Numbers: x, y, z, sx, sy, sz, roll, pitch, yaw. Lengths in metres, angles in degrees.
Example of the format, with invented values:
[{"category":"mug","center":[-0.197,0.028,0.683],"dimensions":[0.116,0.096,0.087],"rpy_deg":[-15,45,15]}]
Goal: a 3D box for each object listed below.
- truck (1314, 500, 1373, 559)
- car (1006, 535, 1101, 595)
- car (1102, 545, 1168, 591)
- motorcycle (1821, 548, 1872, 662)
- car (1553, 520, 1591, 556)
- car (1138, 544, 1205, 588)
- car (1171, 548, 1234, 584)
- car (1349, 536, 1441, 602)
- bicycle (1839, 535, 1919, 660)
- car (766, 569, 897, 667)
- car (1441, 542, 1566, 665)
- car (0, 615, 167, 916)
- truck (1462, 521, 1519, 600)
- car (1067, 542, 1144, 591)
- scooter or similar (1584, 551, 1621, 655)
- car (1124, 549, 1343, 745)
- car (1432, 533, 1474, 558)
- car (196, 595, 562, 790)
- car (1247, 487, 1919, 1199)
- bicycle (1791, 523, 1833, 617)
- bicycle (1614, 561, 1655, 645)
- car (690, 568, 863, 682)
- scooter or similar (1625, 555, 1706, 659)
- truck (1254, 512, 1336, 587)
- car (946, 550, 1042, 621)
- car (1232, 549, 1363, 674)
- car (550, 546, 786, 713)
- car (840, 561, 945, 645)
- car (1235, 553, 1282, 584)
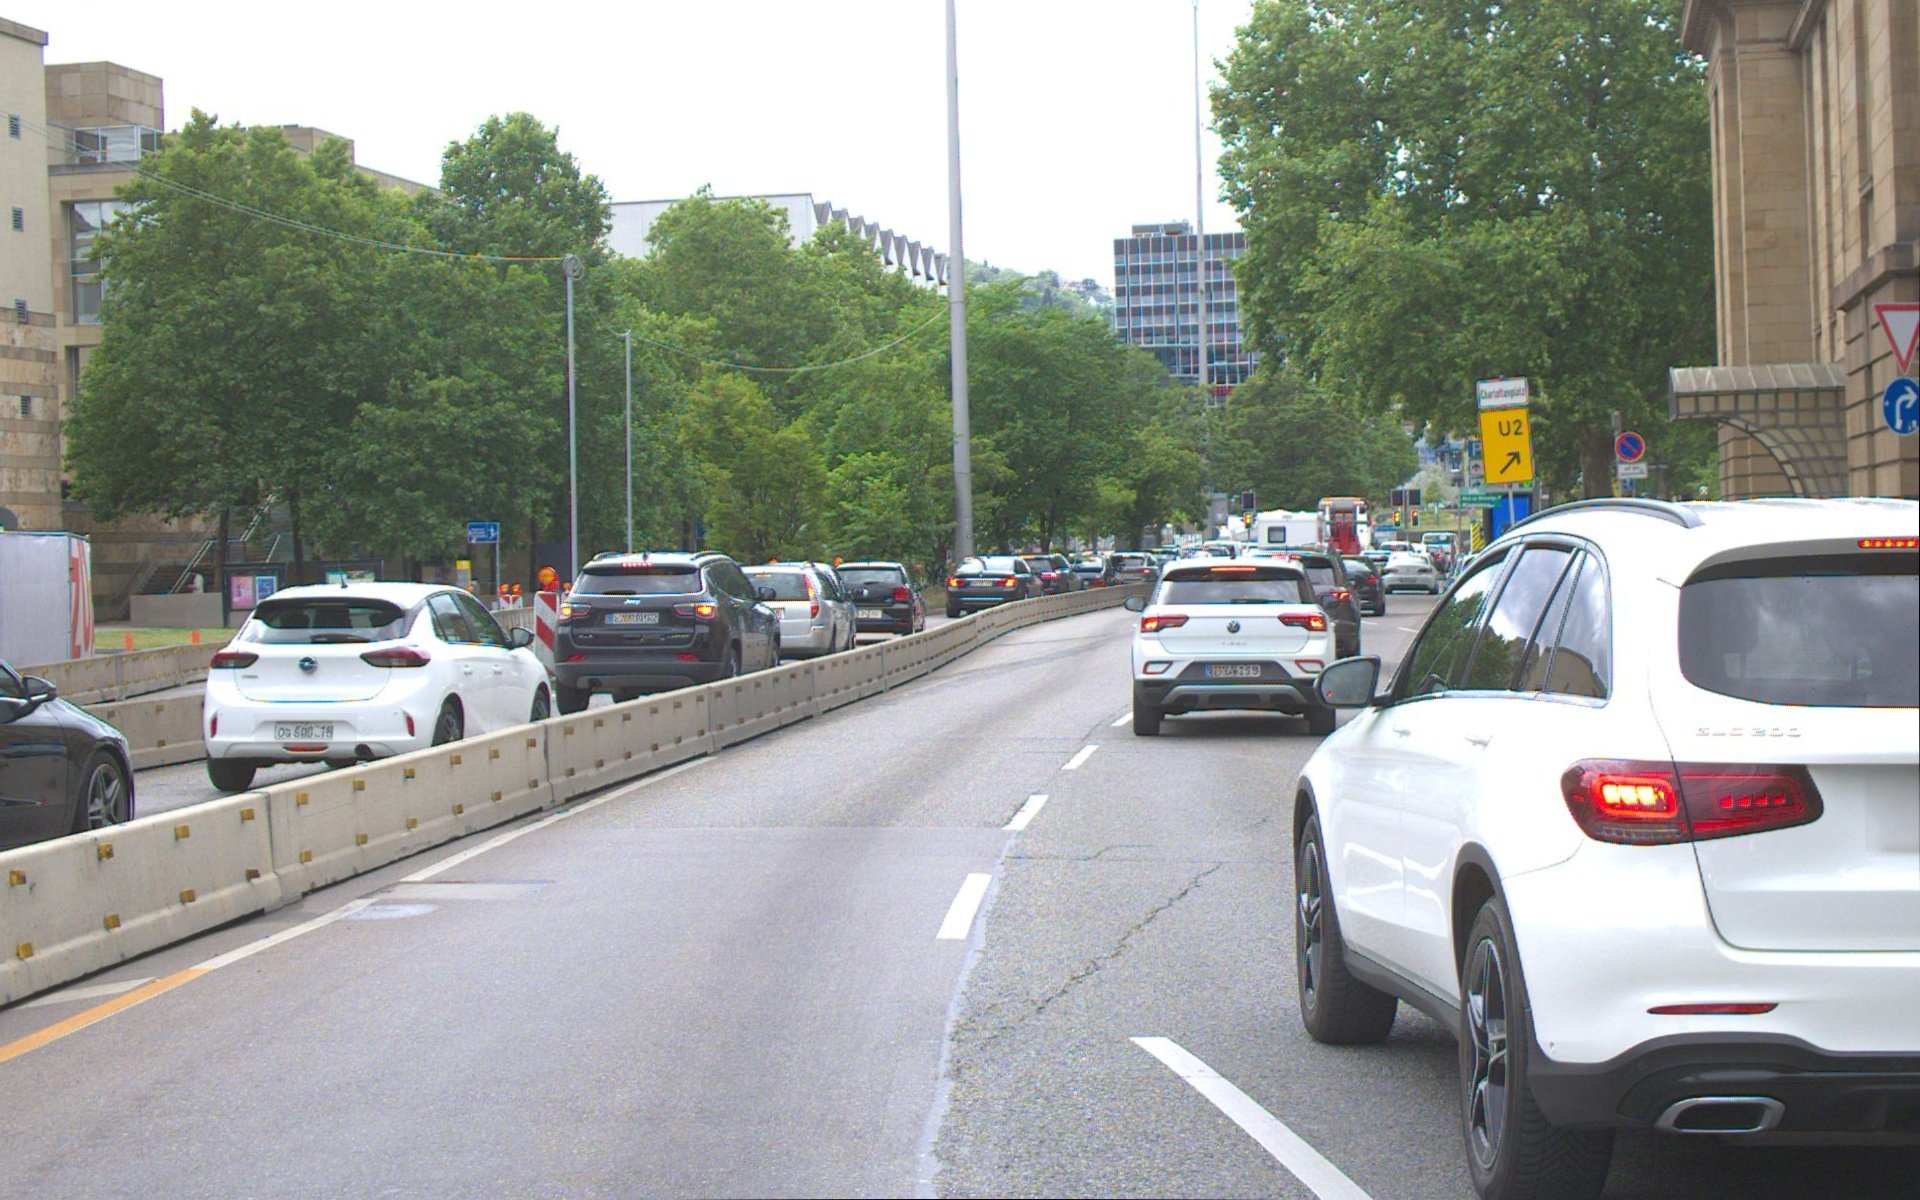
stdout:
[{"category":"truck","center":[19.986,-3.631,178.987],"dimensions":[2.693,2.981,5.636],"rpy_deg":[1,1,9]},{"category":"car","center":[2.496,-0.932,90.777],"dimensions":[1.817,1.494,4.767],"rpy_deg":[-1,1,10]},{"category":"car","center":[5.637,-1.023,110.412],"dimensions":[1.662,1.431,3.959],"rpy_deg":[0,0,10]},{"category":"motorcycle","center":[10.018,0.038,38.877],"dimensions":[0.455,1.238,1.921],"rpy_deg":[-2,0,13]},{"category":"car","center":[34.272,-3.446,192.357],"dimensions":[1.994,2.007,3.998],"rpy_deg":[0,1,11]},{"category":"car","center":[7.341,-1.185,118.907],"dimensions":[1.777,1.415,3.998],"rpy_deg":[-1,1,11]},{"category":"car","center":[8.980,-1.274,127.289],"dimensions":[1.660,1.315,3.545],"rpy_deg":[0,1,15]},{"category":"car","center":[10.105,-0.735,80.154],"dimensions":[1.924,1.438,3.966],"rpy_deg":[-2,1,5]},{"category":"bicycle","center":[9.570,-0.039,35.494],"dimensions":[0.609,1.220,1.962],"rpy_deg":[-4,0,6]},{"category":"car","center":[-2.027,0.259,55.308],"dimensions":[1.672,1.501,3.854],"rpy_deg":[0,1,4]},{"category":"car","center":[7.576,0.021,48.165],"dimensions":[1.546,1.546,3.707],"rpy_deg":[-4,0,8]},{"category":"car","center":[-5.555,0.819,16.723],"dimensions":[1.854,1.410,4.564],"rpy_deg":[0,1,7]},{"category":"truck","center":[27.925,-2.106,180.877],"dimensions":[2.878,4.089,6.635],"rpy_deg":[0,1,9]},{"category":"car","center":[4.314,-1.011,101.170],"dimensions":[1.679,1.362,4.541],"rpy_deg":[-1,1,10]},{"category":"scooter or similar","center":[7.926,0.024,42.441],"dimensions":[0.379,1.257,1.403],"rpy_deg":[-1,1,9]},{"category":"car","center":[2.486,0.374,30.829],"dimensions":[1.796,1.603,3.754],"rpy_deg":[-2,1,6]},{"category":"car","center":[25.824,-2.855,180.142],"dimensions":[1.948,1.315,4.015],"rpy_deg":[0,1,11]},{"category":"car","center":[-4.166,0.628,25.257],"dimensions":[1.726,1.291,3.934],"rpy_deg":[0,0,5]},{"category":"car","center":[1.945,0.566,9.059],"dimensions":[1.788,1.619,4.438],"rpy_deg":[0,1,-3]},{"category":"bicycle","center":[11.958,-0.429,48.286],"dimensions":[0.412,1.284,1.790],"rpy_deg":[-1,1,9]},{"category":"bicycle","center":[9.559,0.036,48.730],"dimensions":[0.460,1.152,1.830],"rpy_deg":[-1,1,8]},{"category":"car","center":[-2.485,0.306,47.569],"dimensions":[1.878,1.476,4.704],"rpy_deg":[0,1,3]},{"category":"scooter or similar","center":[8.671,0.092,42.277],"dimensions":[0.451,1.248,1.369],"rpy_deg":[-1,-1,-11]},{"category":"truck","center":[13.105,-1.987,134.175],"dimensions":[2.622,2.851,7.075],"rpy_deg":[0,1,10]},{"category":"car","center":[0.842,-0.363,82.422],"dimensions":[1.924,1.630,4.936],"rpy_deg":[0,1,5]},{"category":"car","center":[4.631,0.124,46.883],"dimensions":[1.659,1.633,3.546],"rpy_deg":[0,1,8]},{"category":"car","center":[-2.957,0.273,35.604],"dimensions":[1.776,1.615,4.046],"rpy_deg":[0,0,5]},{"category":"car","center":[-1.181,0.030,61.582],"dimensions":[1.659,1.449,4.198],"rpy_deg":[0,1,2]},{"category":"car","center":[13.042,-1.377,150.269],"dimensions":[1.660,1.315,3.546],"rpy_deg":[0,1,11]}]
